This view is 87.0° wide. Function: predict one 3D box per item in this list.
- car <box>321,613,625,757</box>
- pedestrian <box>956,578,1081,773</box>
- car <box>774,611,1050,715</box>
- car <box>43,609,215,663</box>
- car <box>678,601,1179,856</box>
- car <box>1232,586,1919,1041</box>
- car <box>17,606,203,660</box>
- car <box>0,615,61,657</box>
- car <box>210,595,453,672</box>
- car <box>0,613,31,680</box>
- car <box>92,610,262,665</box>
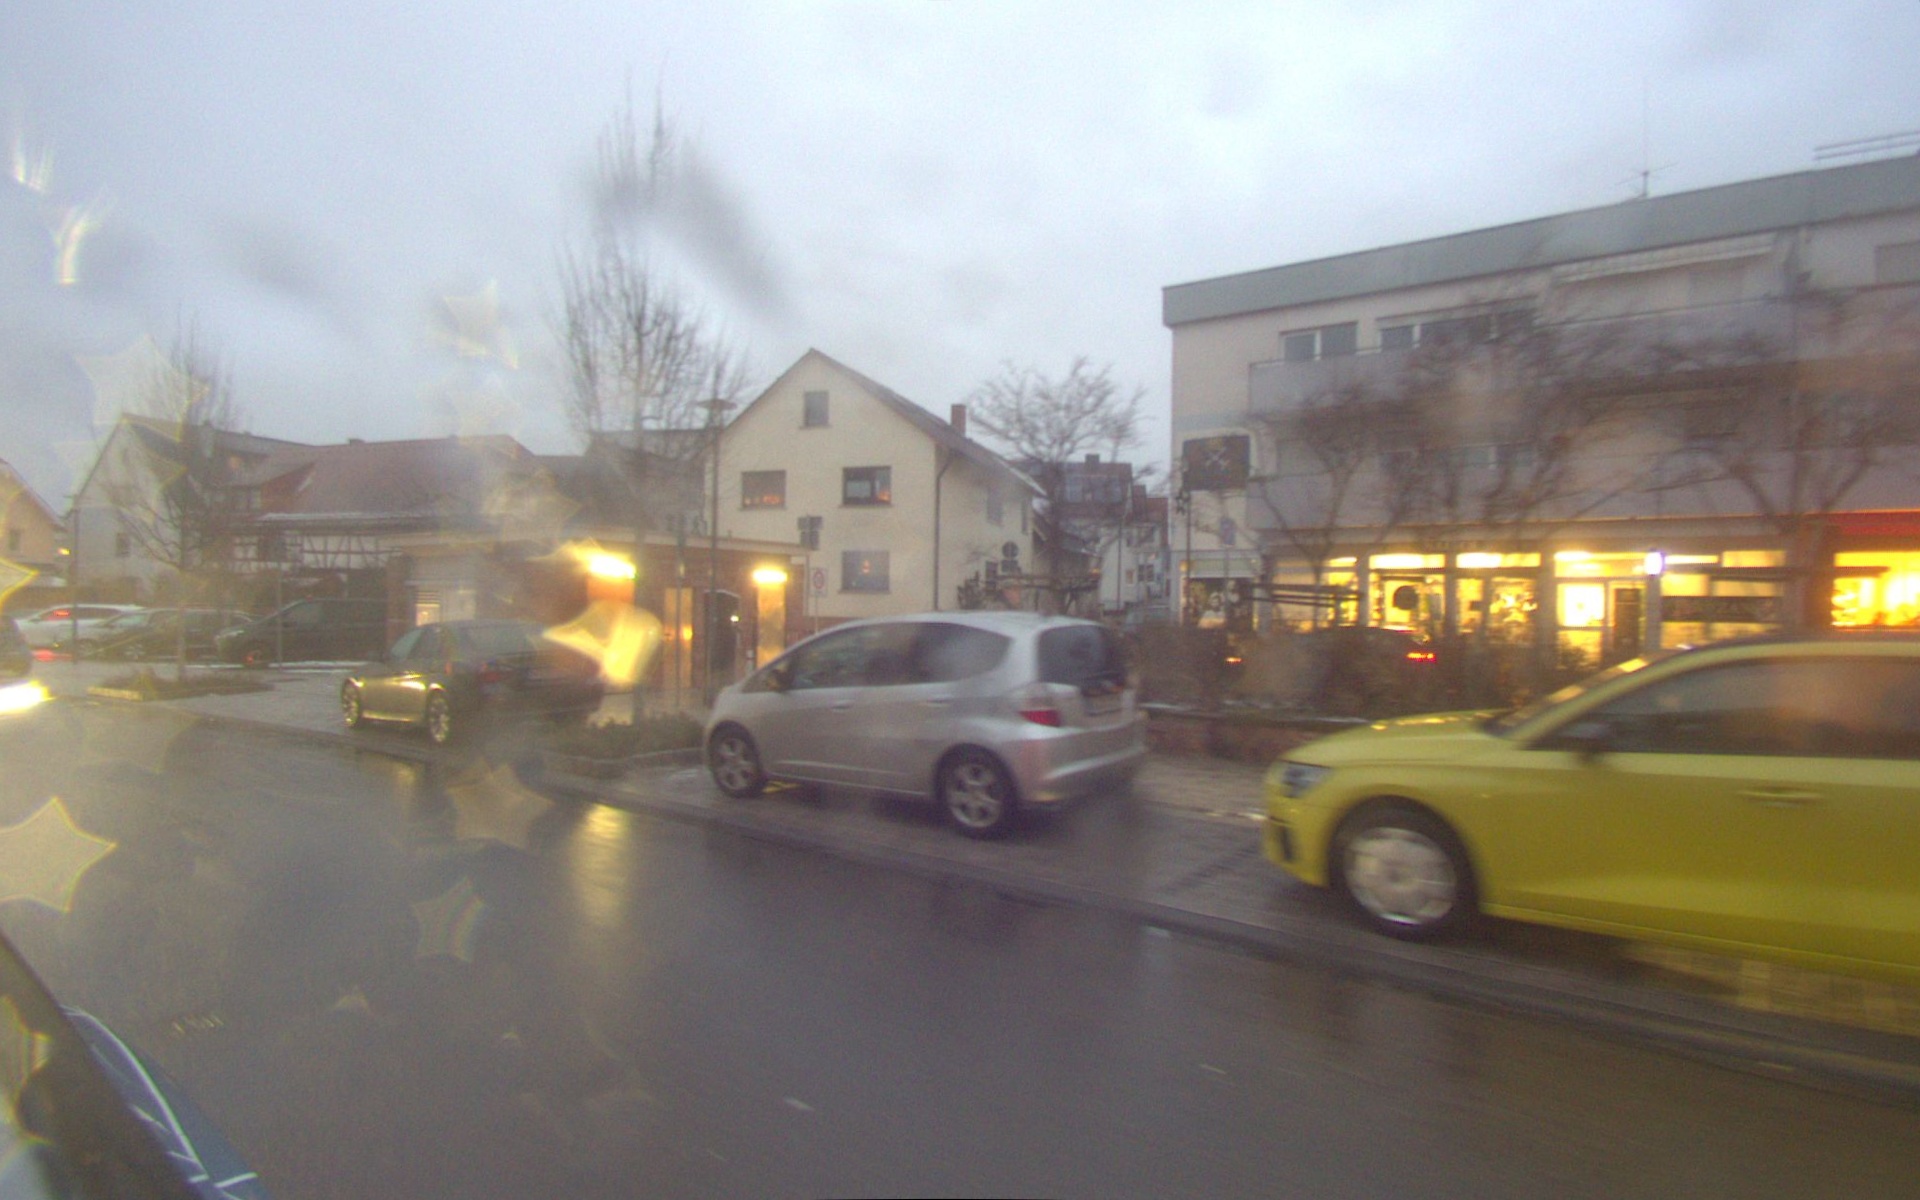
[{"bbox_3d":[-6.221,0.915,12.699,4.454,1.483,1.729,-1,0,39],"label":"car"},{"bbox_3d":[0.599,0.737,10.406,1.060,1.881,0.746,-1,-1,41],"label":"pedestrian"},{"bbox_3d":[-0.745,0.975,16.148,4.018,1.488,1.745,2,-2,-26],"label":"car"},{"bbox_3d":[-26.018,1.136,31.818,4.049,1.594,1.723,2,-2,-41],"label":"car"},{"bbox_3d":[-0.375,0.798,7.988,3.768,1.528,1.676,-1,0,38],"label":"car"},{"bbox_3d":[3.565,0.717,4.299,4.341,1.527,1.730,-1,1,42],"label":"car"},{"bbox_3d":[-28.136,1.077,33.654,4.583,1.666,1.991,2,-1,-41],"label":"car"},{"bbox_3d":[-34.840,1.262,36.086,1.758,1.470,4.015,-1,-1,44],"label":"car"},{"bbox_3d":[-16.695,0.918,27.123,5.307,1.900,2.079,2,-3,-34],"label":"car"},{"bbox_3d":[-23.942,1.087,23.926,3.658,1.547,1.822,0,0,28],"label":"car"},{"bbox_3d":[-23.444,1.085,30.473,3.934,1.541,2.005,0,-1,-37],"label":"car"}]
